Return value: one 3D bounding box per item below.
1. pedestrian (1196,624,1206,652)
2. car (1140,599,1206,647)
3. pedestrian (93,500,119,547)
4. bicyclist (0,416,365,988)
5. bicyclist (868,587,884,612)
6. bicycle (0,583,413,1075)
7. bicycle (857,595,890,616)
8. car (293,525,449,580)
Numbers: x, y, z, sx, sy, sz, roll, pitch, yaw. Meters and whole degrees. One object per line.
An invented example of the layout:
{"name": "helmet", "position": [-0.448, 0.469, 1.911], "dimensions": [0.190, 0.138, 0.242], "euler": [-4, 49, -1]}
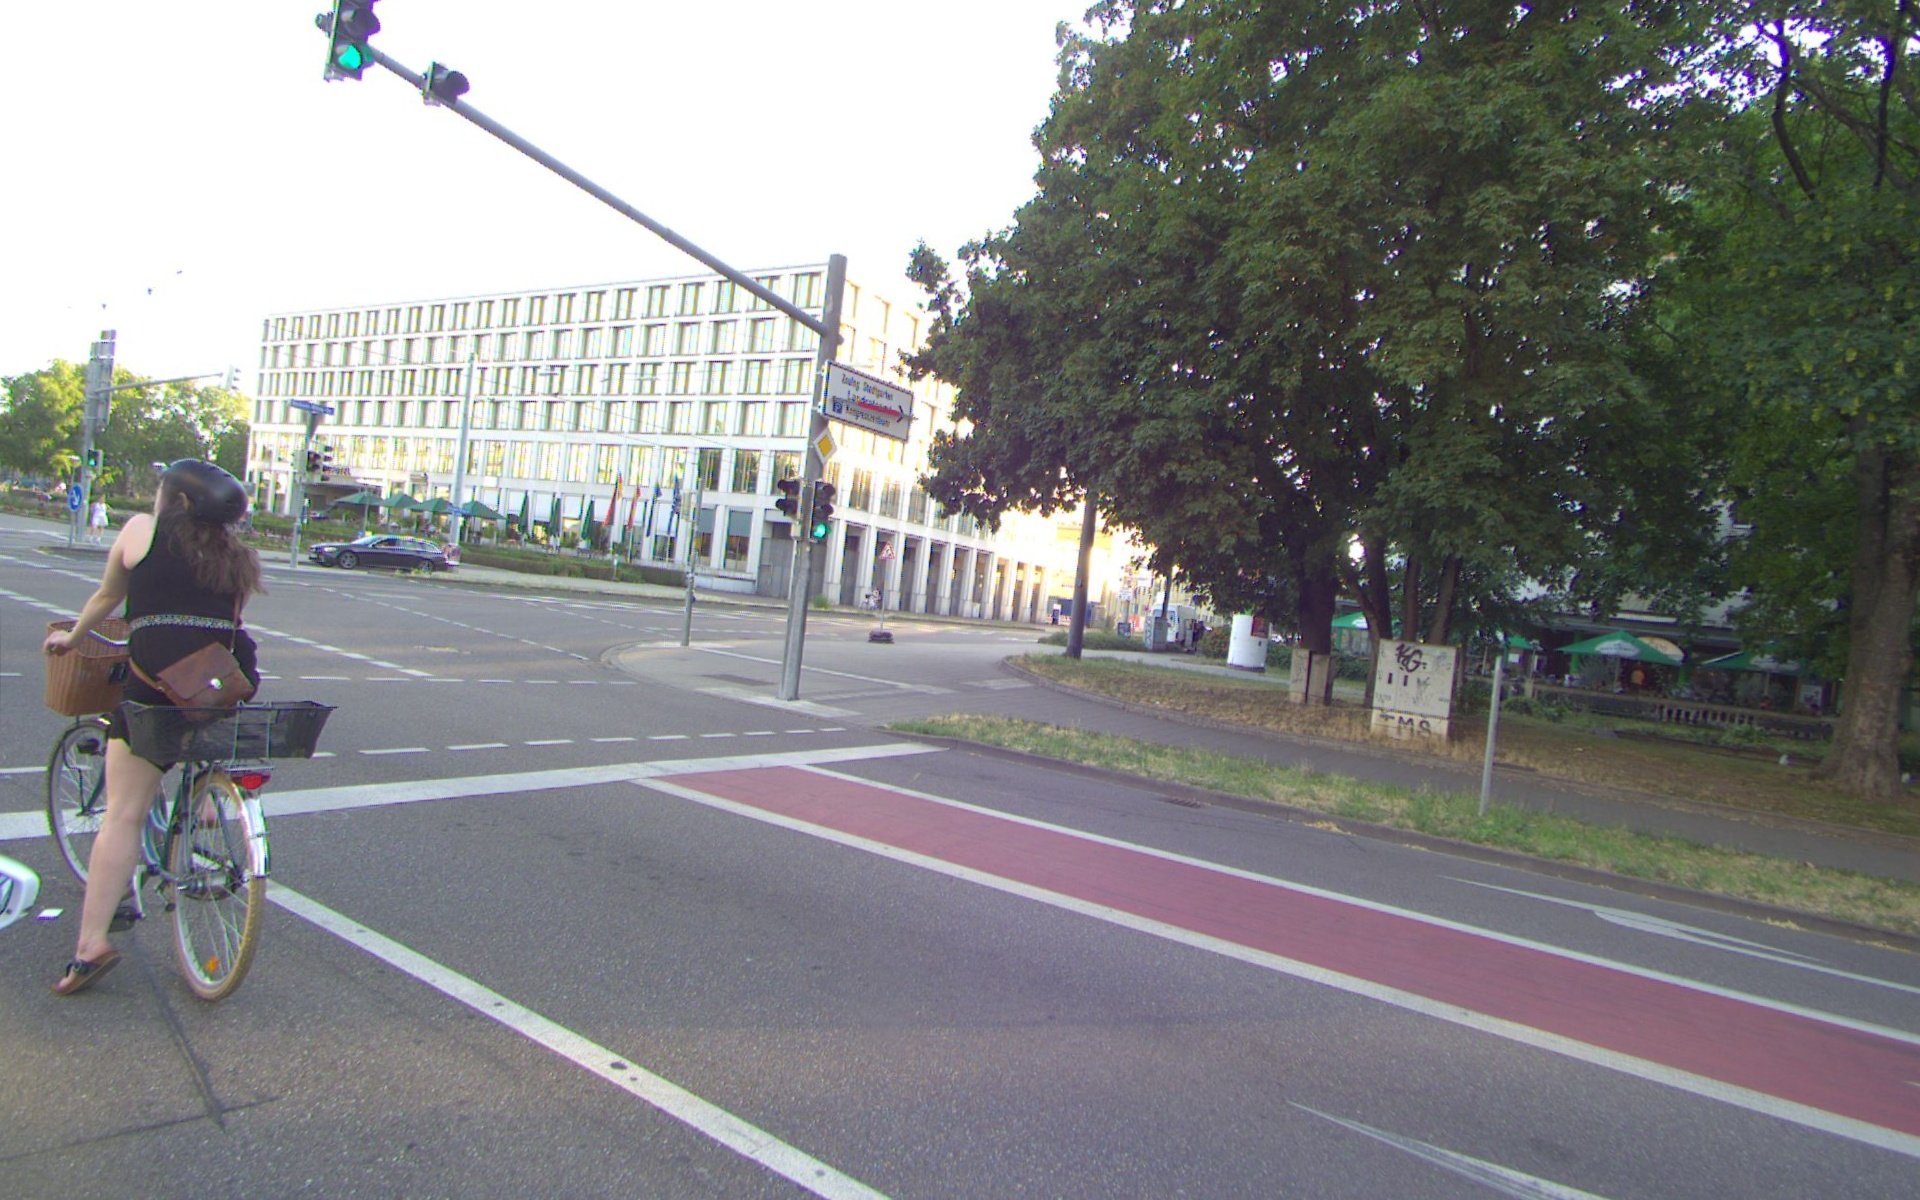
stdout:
{"name": "pedestrian", "position": [13.351, 2.097, 55.797], "dimensions": [0.302, 1.525, 0.336], "euler": [7, -1, 31]}
{"name": "car", "position": [11.732, 1.298, 55.302], "dimensions": [1.967, 2.318, 4.605], "euler": [6, 0, 31]}
{"name": "pedestrian", "position": [-29.811, -2.672, 35.110], "dimensions": [0.402, 1.559, 0.491], "euler": [7, 2, 31]}
{"name": "bicyclist", "position": [-2.688, 0.274, 3.414], "dimensions": [0.982, 1.655, 0.600], "euler": [7, 0, 32]}
{"name": "bicyclist", "position": [-5.467, -0.024, 65.168], "dimensions": [0.567, 1.556, 0.708], "euler": [7, 1, 29]}
{"name": "bicycle", "position": [-2.793, 0.620, 3.448], "dimensions": [1.971, 1.146, 0.612], "euler": [7, -1, 32]}
{"name": "bicycle", "position": [-5.580, 0.373, 65.033], "dimensions": [0.592, 1.120, 2.775], "euler": [7, 0, 29]}
{"name": "car", "position": [-23.004, -1.827, 39.461], "dimensions": [1.968, 1.534, 4.826], "euler": [7, 0, 34]}
